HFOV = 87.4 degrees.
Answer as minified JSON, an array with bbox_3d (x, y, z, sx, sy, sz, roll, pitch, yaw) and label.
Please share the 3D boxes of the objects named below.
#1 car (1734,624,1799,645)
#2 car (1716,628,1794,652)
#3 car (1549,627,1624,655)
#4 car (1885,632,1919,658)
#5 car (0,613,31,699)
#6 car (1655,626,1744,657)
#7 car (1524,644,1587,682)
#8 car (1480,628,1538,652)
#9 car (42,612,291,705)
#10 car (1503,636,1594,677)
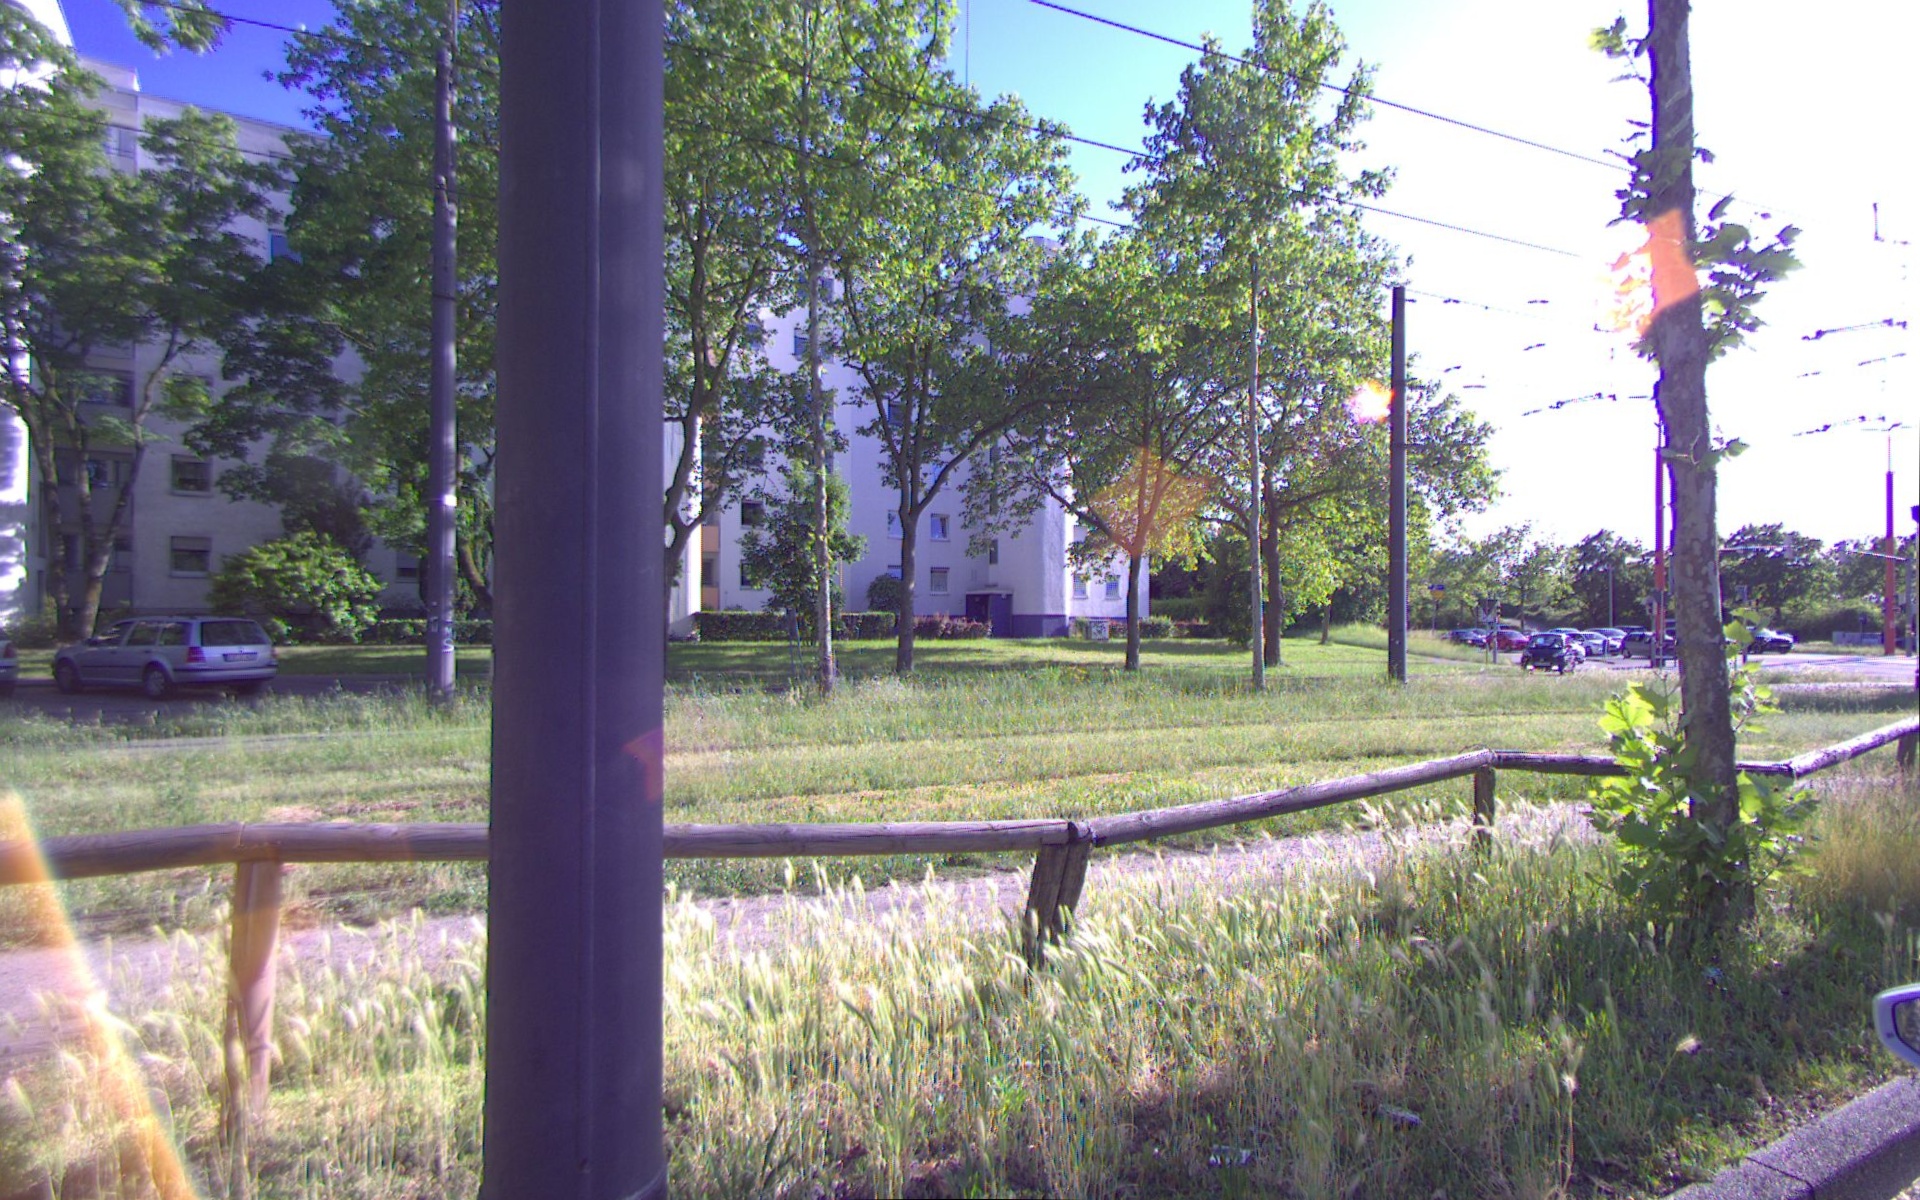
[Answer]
[{"bbox_3d":[63.677,2.735,79.397,1.655,1.460,3.973,2,0,-5],"label":"car"},{"bbox_3d":[48.788,2.426,61.740,1.664,1.347,4.001,1,-1,2],"label":"car"},{"bbox_3d":[38.905,2.539,62.466,1.833,1.633,4.185,1,-1,-4],"label":"car"},{"bbox_3d":[60.575,2.833,62.720,1.793,1.619,4.132,1,-1,-2],"label":"car"},{"bbox_3d":[-17.995,0.920,17.165,3.547,1.439,1.576,1,0,18],"label":"car"},{"bbox_3d":[42.483,2.342,57.811,1.962,1.666,3.997,1,-1,-5],"label":"car"},{"bbox_3d":[31.039,3.230,52.515,1.961,1.754,4.845,0,-1,20],"label":"car"},{"bbox_3d":[38.463,2.790,70.491,1.699,1.533,3.998,1,-1,-4],"label":"car"},{"bbox_3d":[-14.587,1.015,18.491,3.898,1.462,1.710,1,0,18],"label":"car"},{"bbox_3d":[21.989,2.079,37.517,2.816,1.409,1.790,1,-1,-30],"label":"car"}]
